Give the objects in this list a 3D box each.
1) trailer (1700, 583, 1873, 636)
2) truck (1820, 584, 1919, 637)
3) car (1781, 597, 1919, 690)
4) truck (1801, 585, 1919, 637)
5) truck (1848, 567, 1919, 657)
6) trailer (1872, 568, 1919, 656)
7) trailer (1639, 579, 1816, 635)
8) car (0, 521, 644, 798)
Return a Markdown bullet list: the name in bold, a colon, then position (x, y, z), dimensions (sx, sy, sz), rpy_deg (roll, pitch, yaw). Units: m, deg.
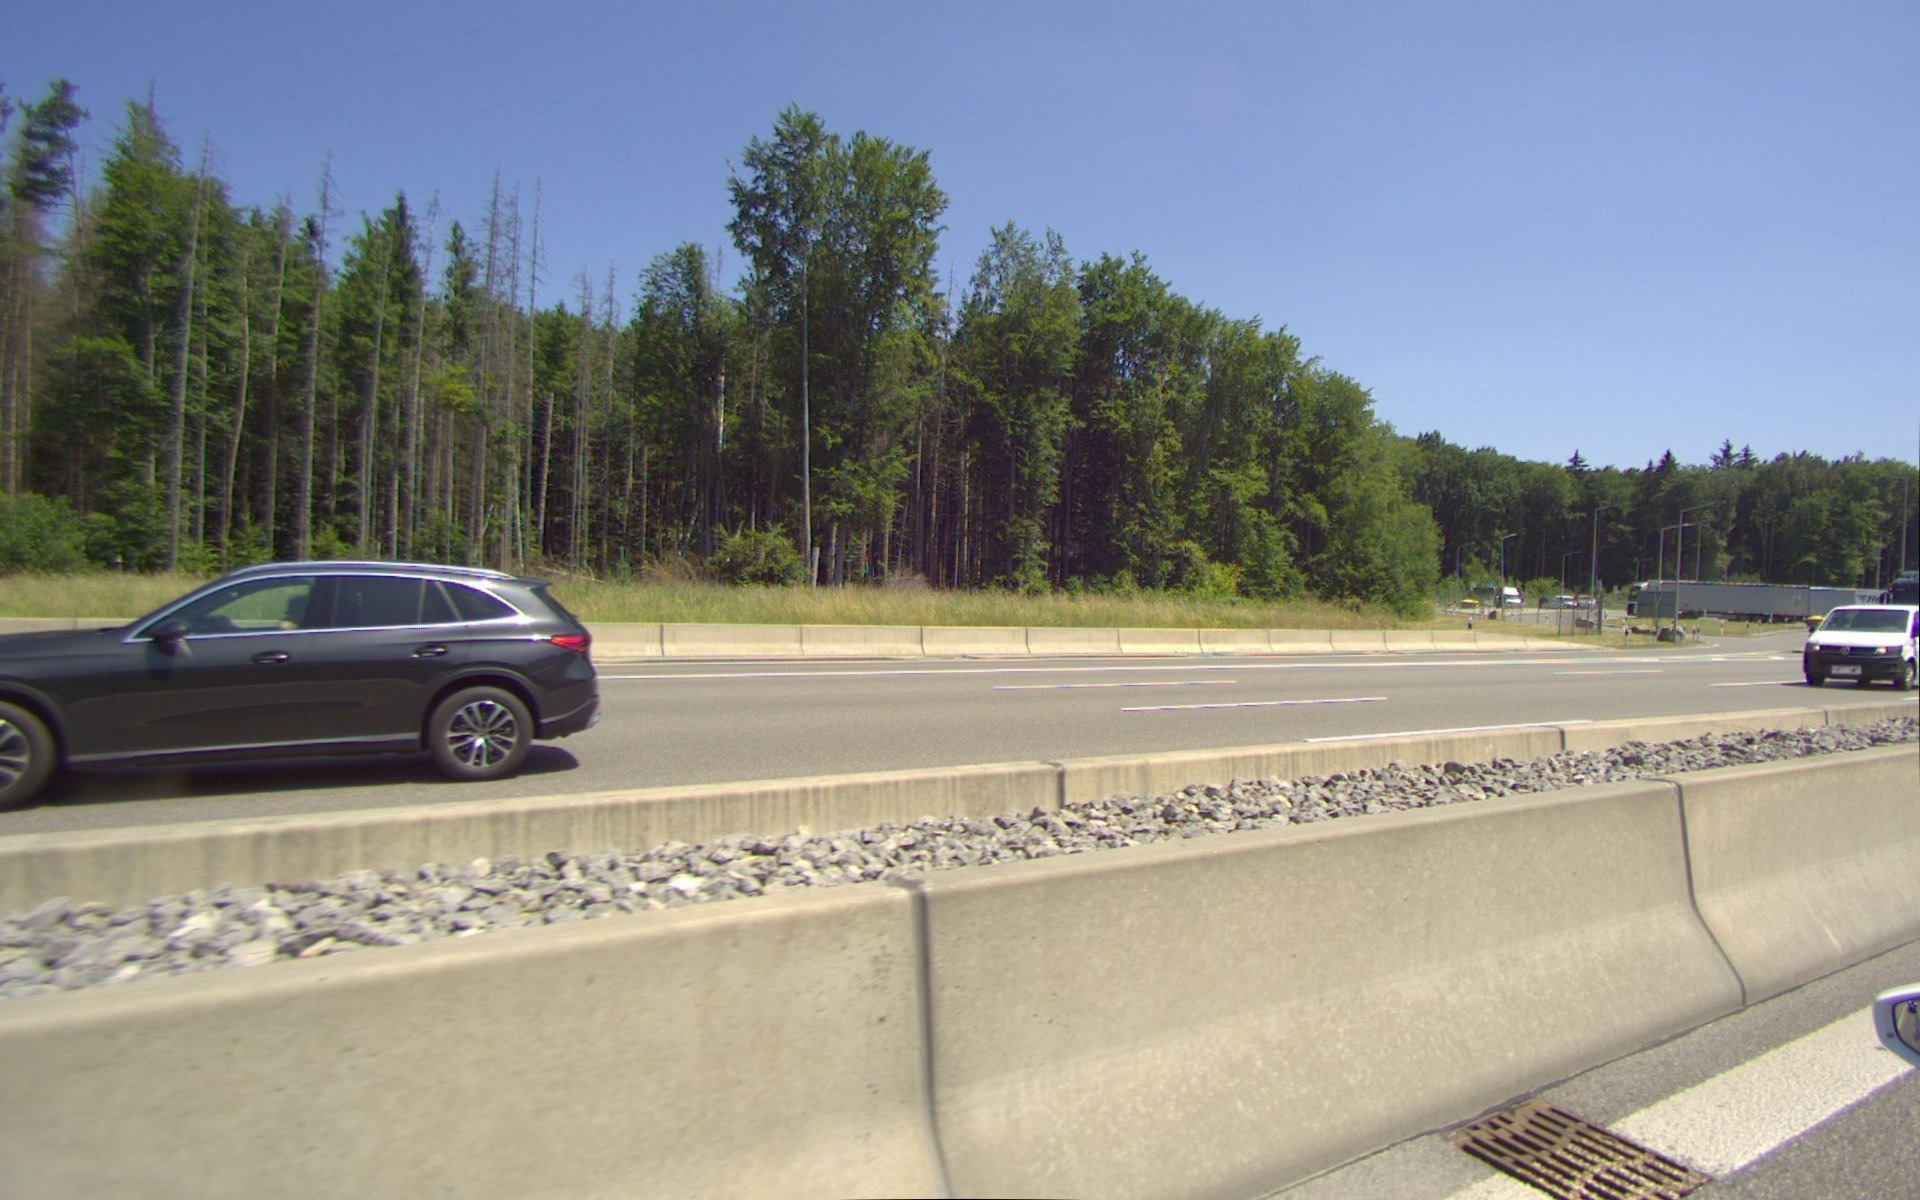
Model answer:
- **trailer**: position (89.265, 0.977, 108.876), dimensions (14.272, 5.140, 3.225), rpy_deg (2, 1, 14)
- **truck**: position (104.998, 1.196, 115.678), dimensions (8.317, 5.688, 3.230), rpy_deg (2, 1, 14)
- **car**: position (22.327, 1.036, 24.427), dimensions (5.070, 2.040, 1.984), rpy_deg (2, 0, -30)
- **truck**: position (107.084, 1.254, 118.693), dimensions (11.304, 5.688, 3.230), rpy_deg (2, 1, 14)
- **truck**: position (44.210, 0.579, 46.343), dimensions (5.476, 3.983, 3.271), rpy_deg (1, 0, -31)
- **trailer**: position (50.495, 0.711, 50.219), dimensions (14.116, 4.054, 3.325), rpy_deg (2, 0, -31)
- **trailer**: position (79.218, 0.662, 104.057), dimensions (14.272, 5.140, 3.131), rpy_deg (2, 1, 14)
- **car**: position (-5.181, 0.394, 7.773), dimensions (4.945, 1.721, 1.819), rpy_deg (1, 0, -31)
